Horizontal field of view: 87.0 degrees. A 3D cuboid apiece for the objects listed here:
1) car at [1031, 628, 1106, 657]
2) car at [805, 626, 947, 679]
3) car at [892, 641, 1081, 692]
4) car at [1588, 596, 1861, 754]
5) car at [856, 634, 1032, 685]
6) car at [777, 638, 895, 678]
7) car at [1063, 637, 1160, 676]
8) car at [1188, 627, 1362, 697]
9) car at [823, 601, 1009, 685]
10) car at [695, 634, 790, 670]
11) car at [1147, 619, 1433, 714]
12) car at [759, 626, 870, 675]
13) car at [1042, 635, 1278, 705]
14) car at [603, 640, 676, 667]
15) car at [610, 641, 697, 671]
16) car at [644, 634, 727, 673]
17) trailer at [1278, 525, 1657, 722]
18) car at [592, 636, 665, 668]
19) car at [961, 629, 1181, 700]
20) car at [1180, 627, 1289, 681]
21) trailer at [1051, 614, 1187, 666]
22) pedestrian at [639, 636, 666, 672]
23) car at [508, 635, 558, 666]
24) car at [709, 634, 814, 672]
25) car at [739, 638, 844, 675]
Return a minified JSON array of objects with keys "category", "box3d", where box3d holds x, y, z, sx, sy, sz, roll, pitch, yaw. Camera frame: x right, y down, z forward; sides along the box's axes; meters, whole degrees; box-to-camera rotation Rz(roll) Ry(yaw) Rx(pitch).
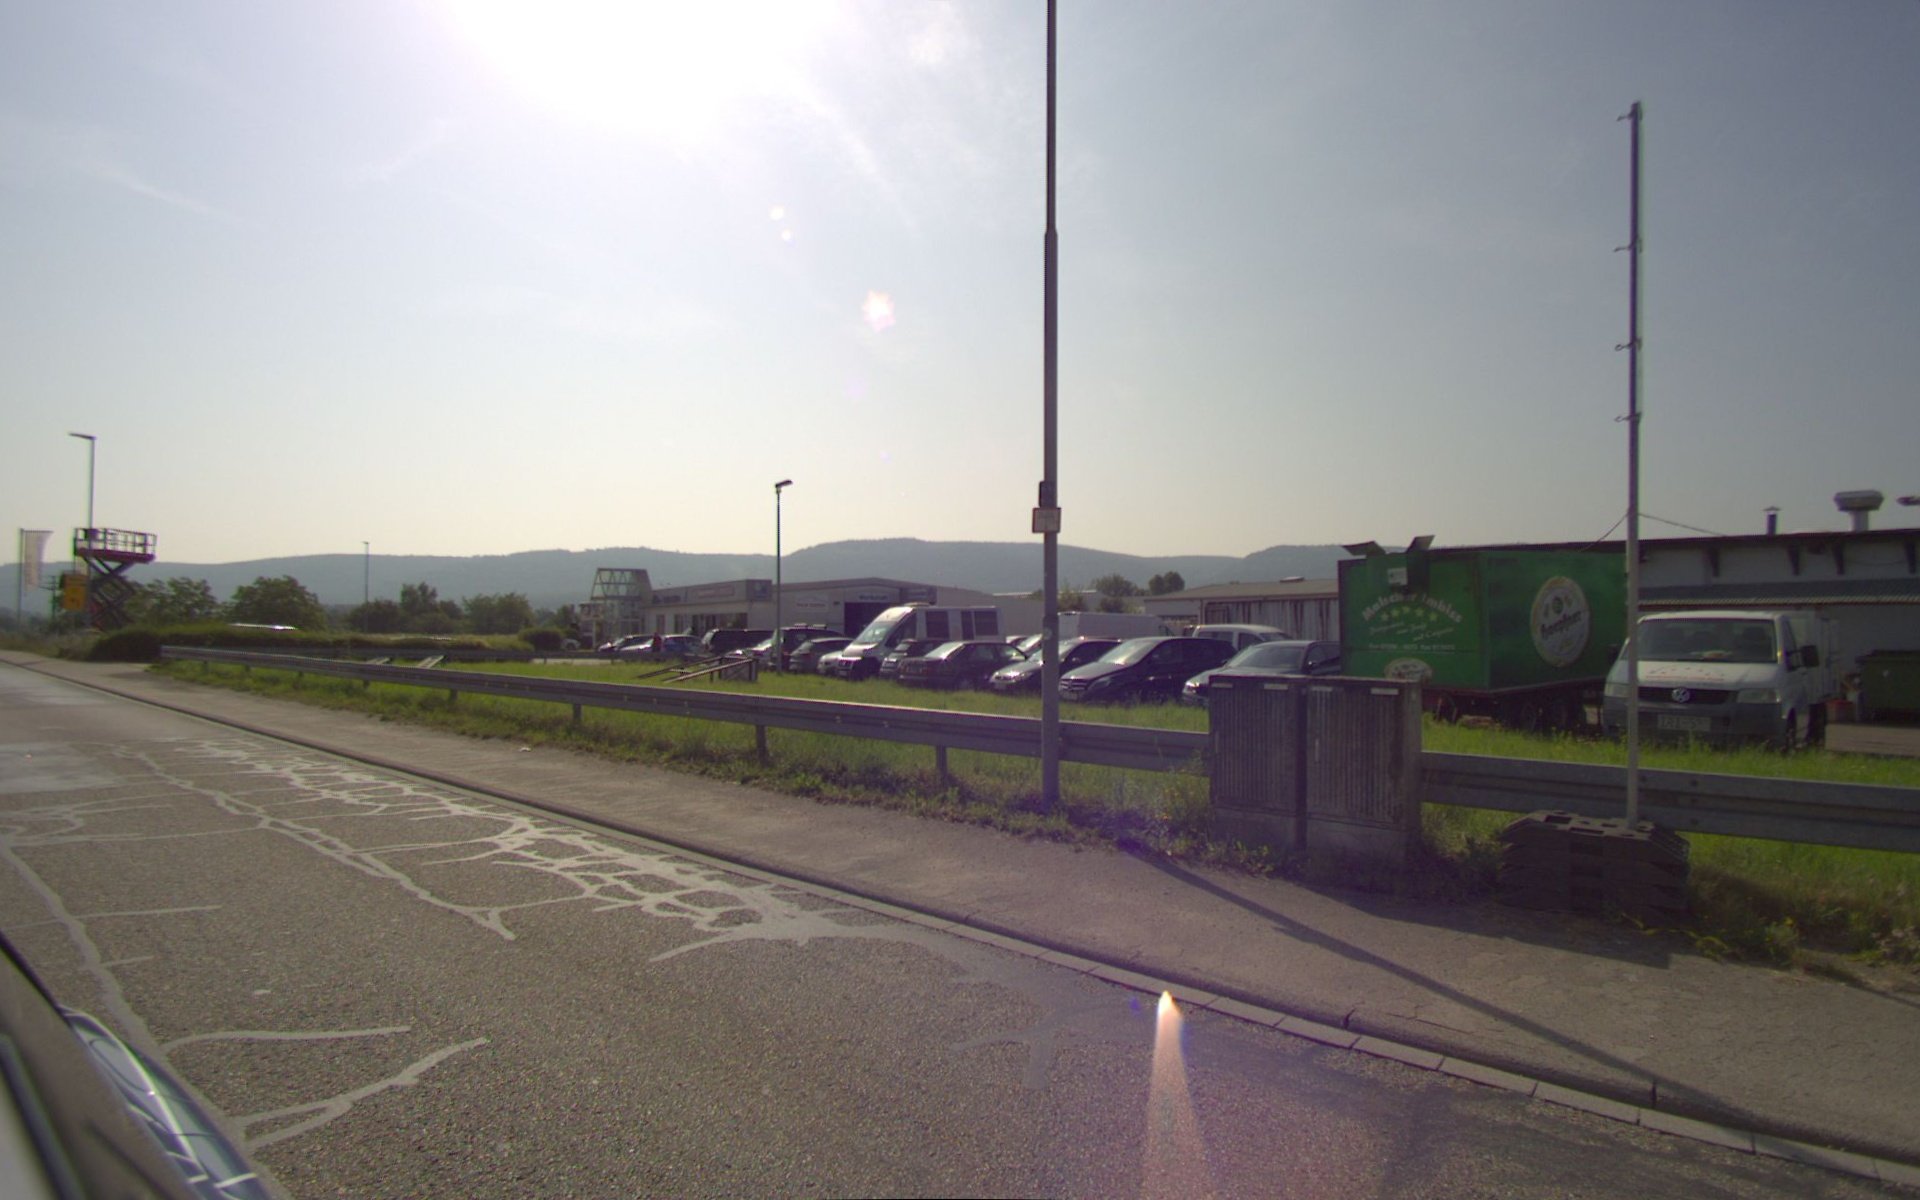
[{"category":"car","box3d":[5.703,2.237,52.919,3.605,1.475,1.768,3,-3,-34]},{"category":"car","box3d":[-2.776,1.774,33.631,4.328,1.676,1.812,2,-4,-30]},{"category":"car","box3d":[0.712,1.740,26.263,4.616,1.228,1.836,2,-4,-30]},{"category":"car","box3d":[10.399,0.956,13.584,5.198,1.719,2.002,3,-4,-43]},{"category":"car","box3d":[-0.427,1.733,29.080,4.684,1.364,1.927,2,-4,-30]},{"category":"car","box3d":[-4.330,2.038,35.478,3.695,1.318,1.811,3,-3,-35]},{"category":"car","box3d":[6.100,2.267,40.602,3.605,1.475,1.768,3,-3,-34]},{"category":"car","box3d":[8.831,1.670,28.760,1.966,1.689,4.541,-1,0,-32]},{"category":"car","box3d":[-1.335,1.395,31.408,5.313,2.391,2.300,2,-4,-30]},{"category":"car","box3d":[-9.475,2.283,44.161,3.627,1.533,1.688,3,-4,-37]},{"category":"car","box3d":[6.156,1.239,18.771,5.055,1.546,2.184,2,-4,-30]},{"category":"car","box3d":[-5.426,1.898,37.871,3.695,1.764,1.753,3,-3,-35]},{"category":"car","box3d":[4.259,1.472,21.326,4.882,1.328,1.784,2,-4,-30]},{"category":"car","box3d":[-18.195,3.055,57.502,3.605,1.475,1.768,3,-3,-34]},{"category":"car","box3d":[-16.523,3.017,54.666,4.089,1.547,1.887,3,-3,-36]},{"category":"car","box3d":[-14.326,2.746,52.844,3.711,1.809,1.938,-1,0,-36]},{"category":"trailer","box3d":[8.344,0.481,16.447,6.222,2.625,2.861,3,-3,-35]},{"category":"car","box3d":[-20.491,3.224,62.553,4.026,1.887,1.822,2,-3,-26]},{"category":"car","box3d":[2.726,1.571,24.443,5.055,1.546,2.032,2,-4,-30]},{"category":"car","box3d":[10.794,2.129,39.754,3.932,2.029,2.006,3,-3,-31]},{"category":"trailer","box3d":[7.006,1.796,44.437,5.667,2.141,2.224,2,-3,-28]},{"category":"pedestrian","box3d":[-15.344,2.681,50.503,0.987,1.767,0.833,-1,0,24]},{"category":"car","box3d":[-29.323,3.455,69.428,1.968,2.029,4.163,3,-4,-40]},{"category":"car","box3d":[-8.234,2.215,42.115,3.935,1.533,1.688,3,-4,-37]},{"category":"car","box3d":[-6.667,2.232,40.089,3.695,1.399,1.734,3,-3,-35]}]
